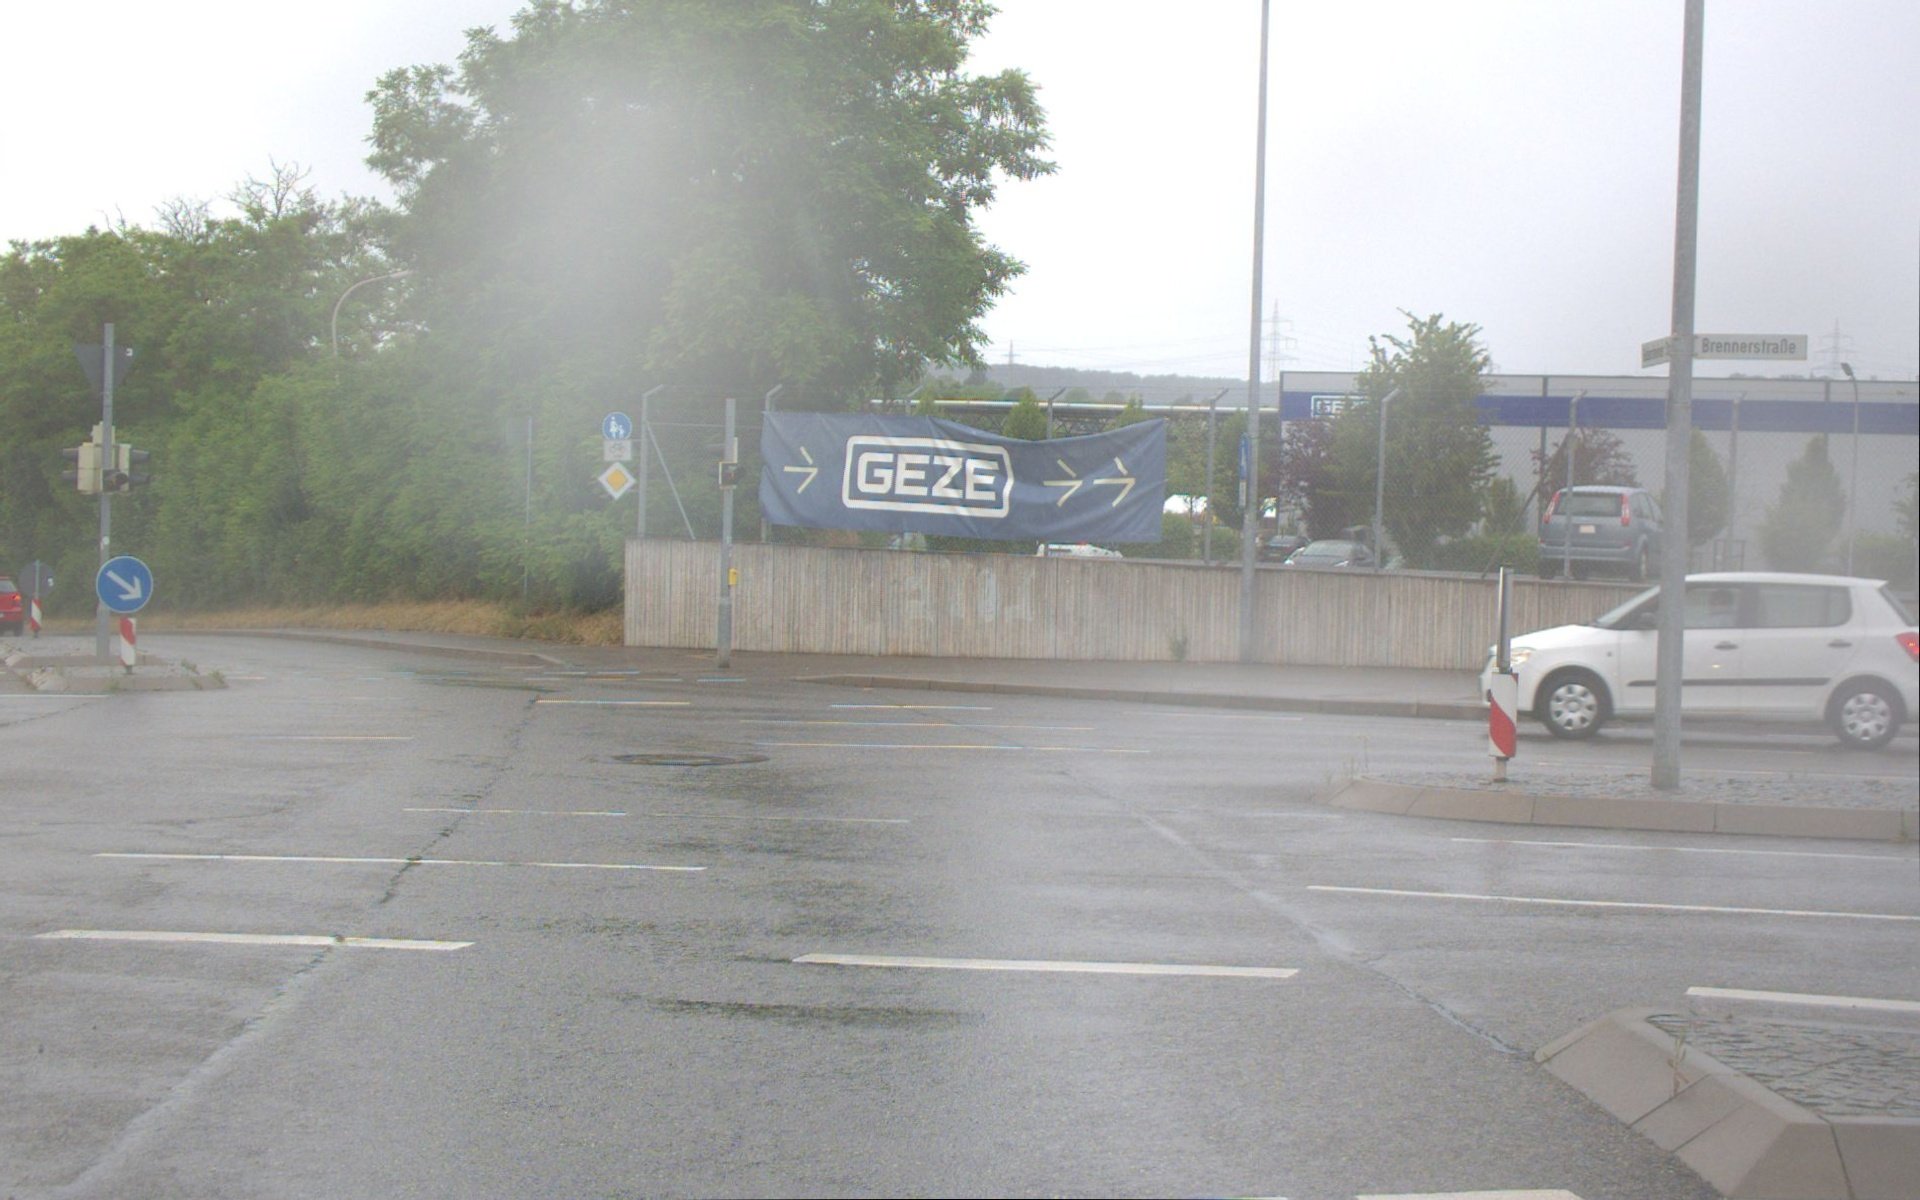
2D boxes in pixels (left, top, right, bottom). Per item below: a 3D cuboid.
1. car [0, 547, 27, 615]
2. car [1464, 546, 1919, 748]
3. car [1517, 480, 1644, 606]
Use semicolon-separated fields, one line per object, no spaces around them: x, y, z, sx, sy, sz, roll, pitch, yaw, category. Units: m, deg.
-23.369;-0.484;82.036;1.614;1.443;3.808;2;2;-22;car
6.553;0.374;30.212;3.989;1.590;1.956;2;1;14;car
10.545;-0.971;58.266;1.994;2.007;3.998;2;1;11;car
